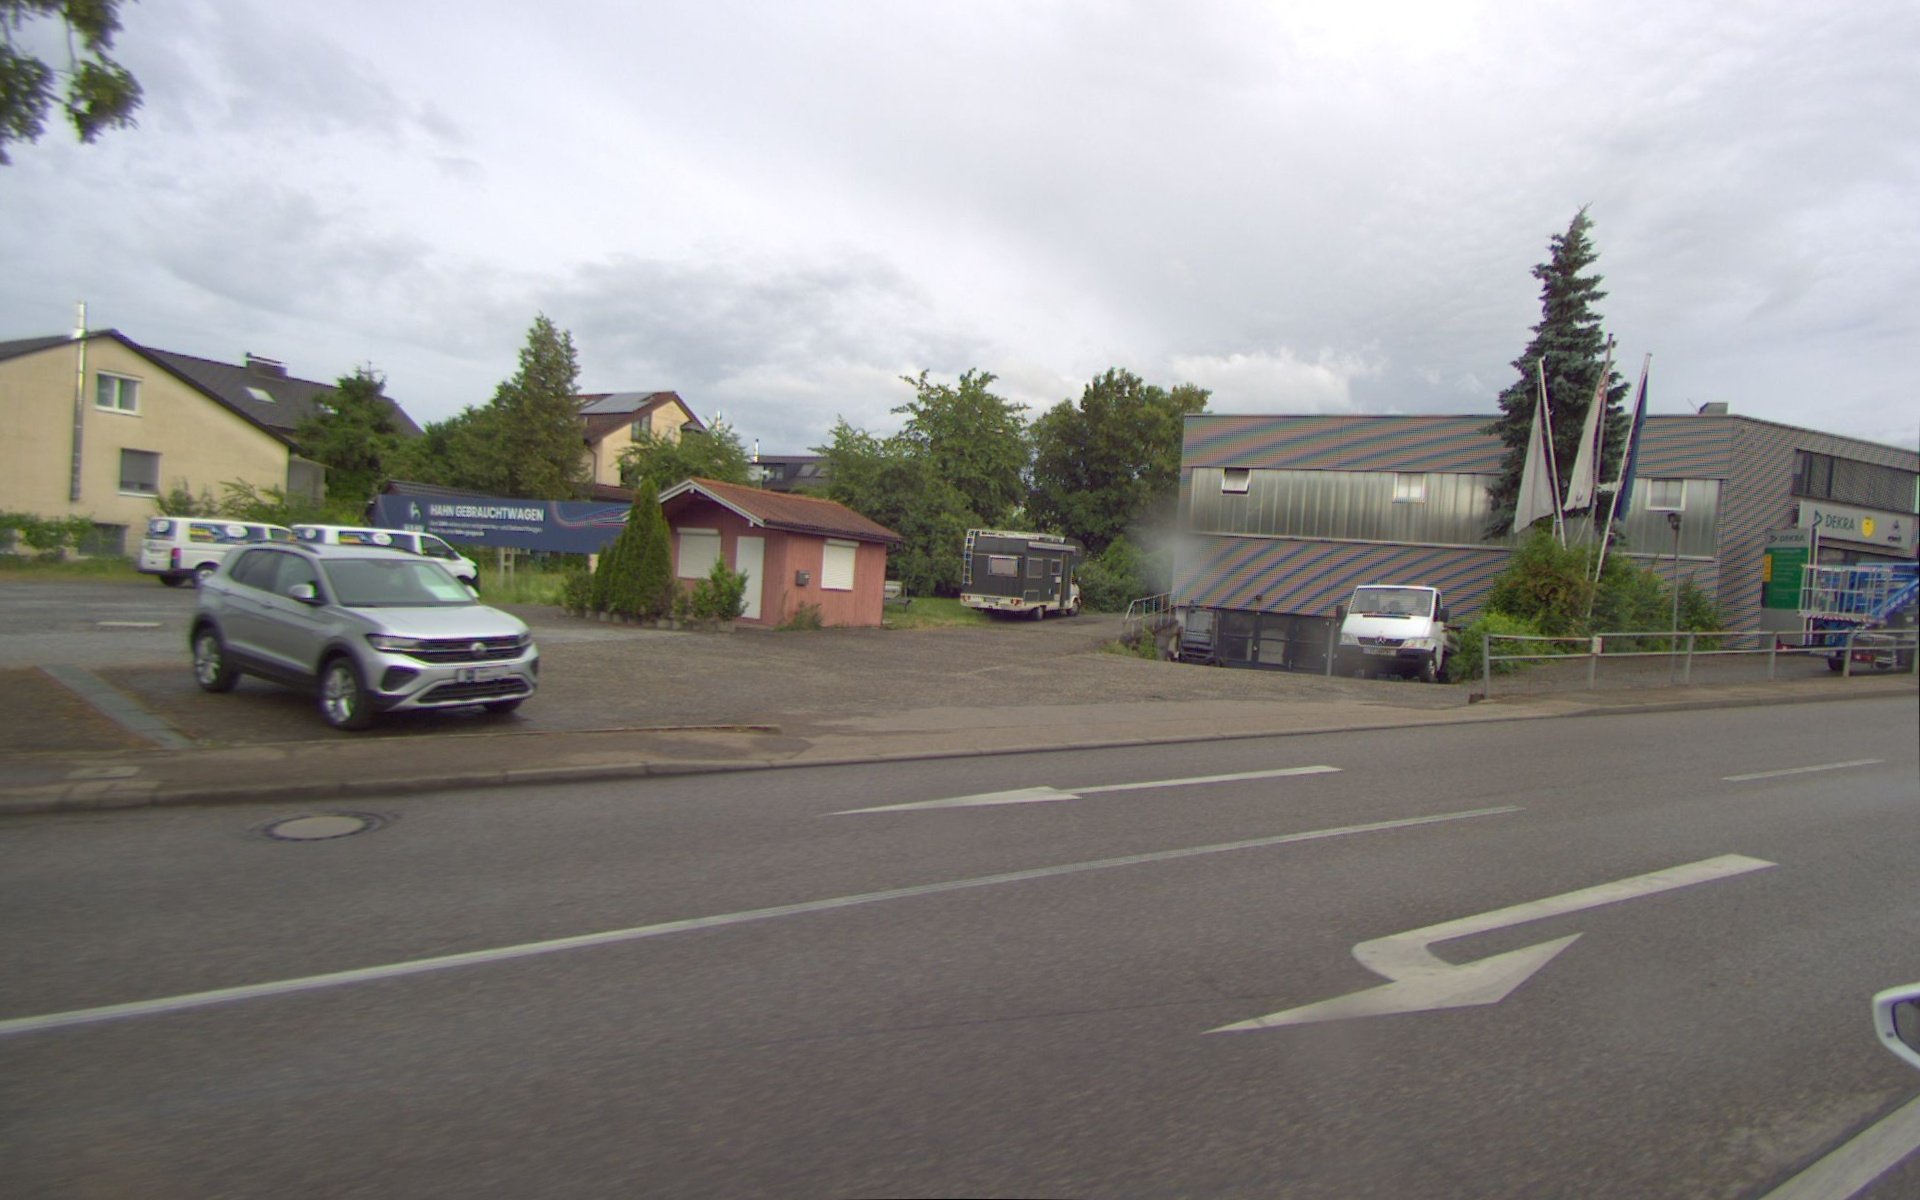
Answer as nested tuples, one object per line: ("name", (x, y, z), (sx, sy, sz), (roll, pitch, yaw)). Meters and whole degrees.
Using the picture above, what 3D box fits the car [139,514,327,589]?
("car", (-21.660, -1.394, 30.128), (1.691, 2.014, 4.270), (3, 1, 24))

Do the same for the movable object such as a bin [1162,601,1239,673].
("movable object such as a bin", (7.806, 1.252, 32.351), (1.632, 2.039, 4.000), (3, -4, 24))

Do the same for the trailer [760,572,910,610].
("trailer", (-4.232, -0.323, 33.847), (4.788, 1.042, 2.095), (3, 1, 33))

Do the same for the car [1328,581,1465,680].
("car", (9.827, 0.593, 22.431), (2.029, 1.896, 4.270), (3, 2, 33))

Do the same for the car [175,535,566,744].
("car", (-6.032, 0.259, 10.177), (3.937, 1.591, 1.717), (5, 4, 31))

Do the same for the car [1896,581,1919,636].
("car", (36.661, 0.381, 37.089), (1.965, 2.014, 4.866), (4, 3, 31))

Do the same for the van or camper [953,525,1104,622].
("van or camper", (2.711, -1.022, 36.447), (2.431, 2.934, 8.109), (7, 5, 25))

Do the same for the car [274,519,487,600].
("car", (-15.891, -1.055, 27.862), (1.924, 2.014, 4.868), (3, 1, 25))

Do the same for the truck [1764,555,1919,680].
("truck", (22.668, 0.329, 24.018), (7.782, 2.668, 1.988), (0, 2, -24))
